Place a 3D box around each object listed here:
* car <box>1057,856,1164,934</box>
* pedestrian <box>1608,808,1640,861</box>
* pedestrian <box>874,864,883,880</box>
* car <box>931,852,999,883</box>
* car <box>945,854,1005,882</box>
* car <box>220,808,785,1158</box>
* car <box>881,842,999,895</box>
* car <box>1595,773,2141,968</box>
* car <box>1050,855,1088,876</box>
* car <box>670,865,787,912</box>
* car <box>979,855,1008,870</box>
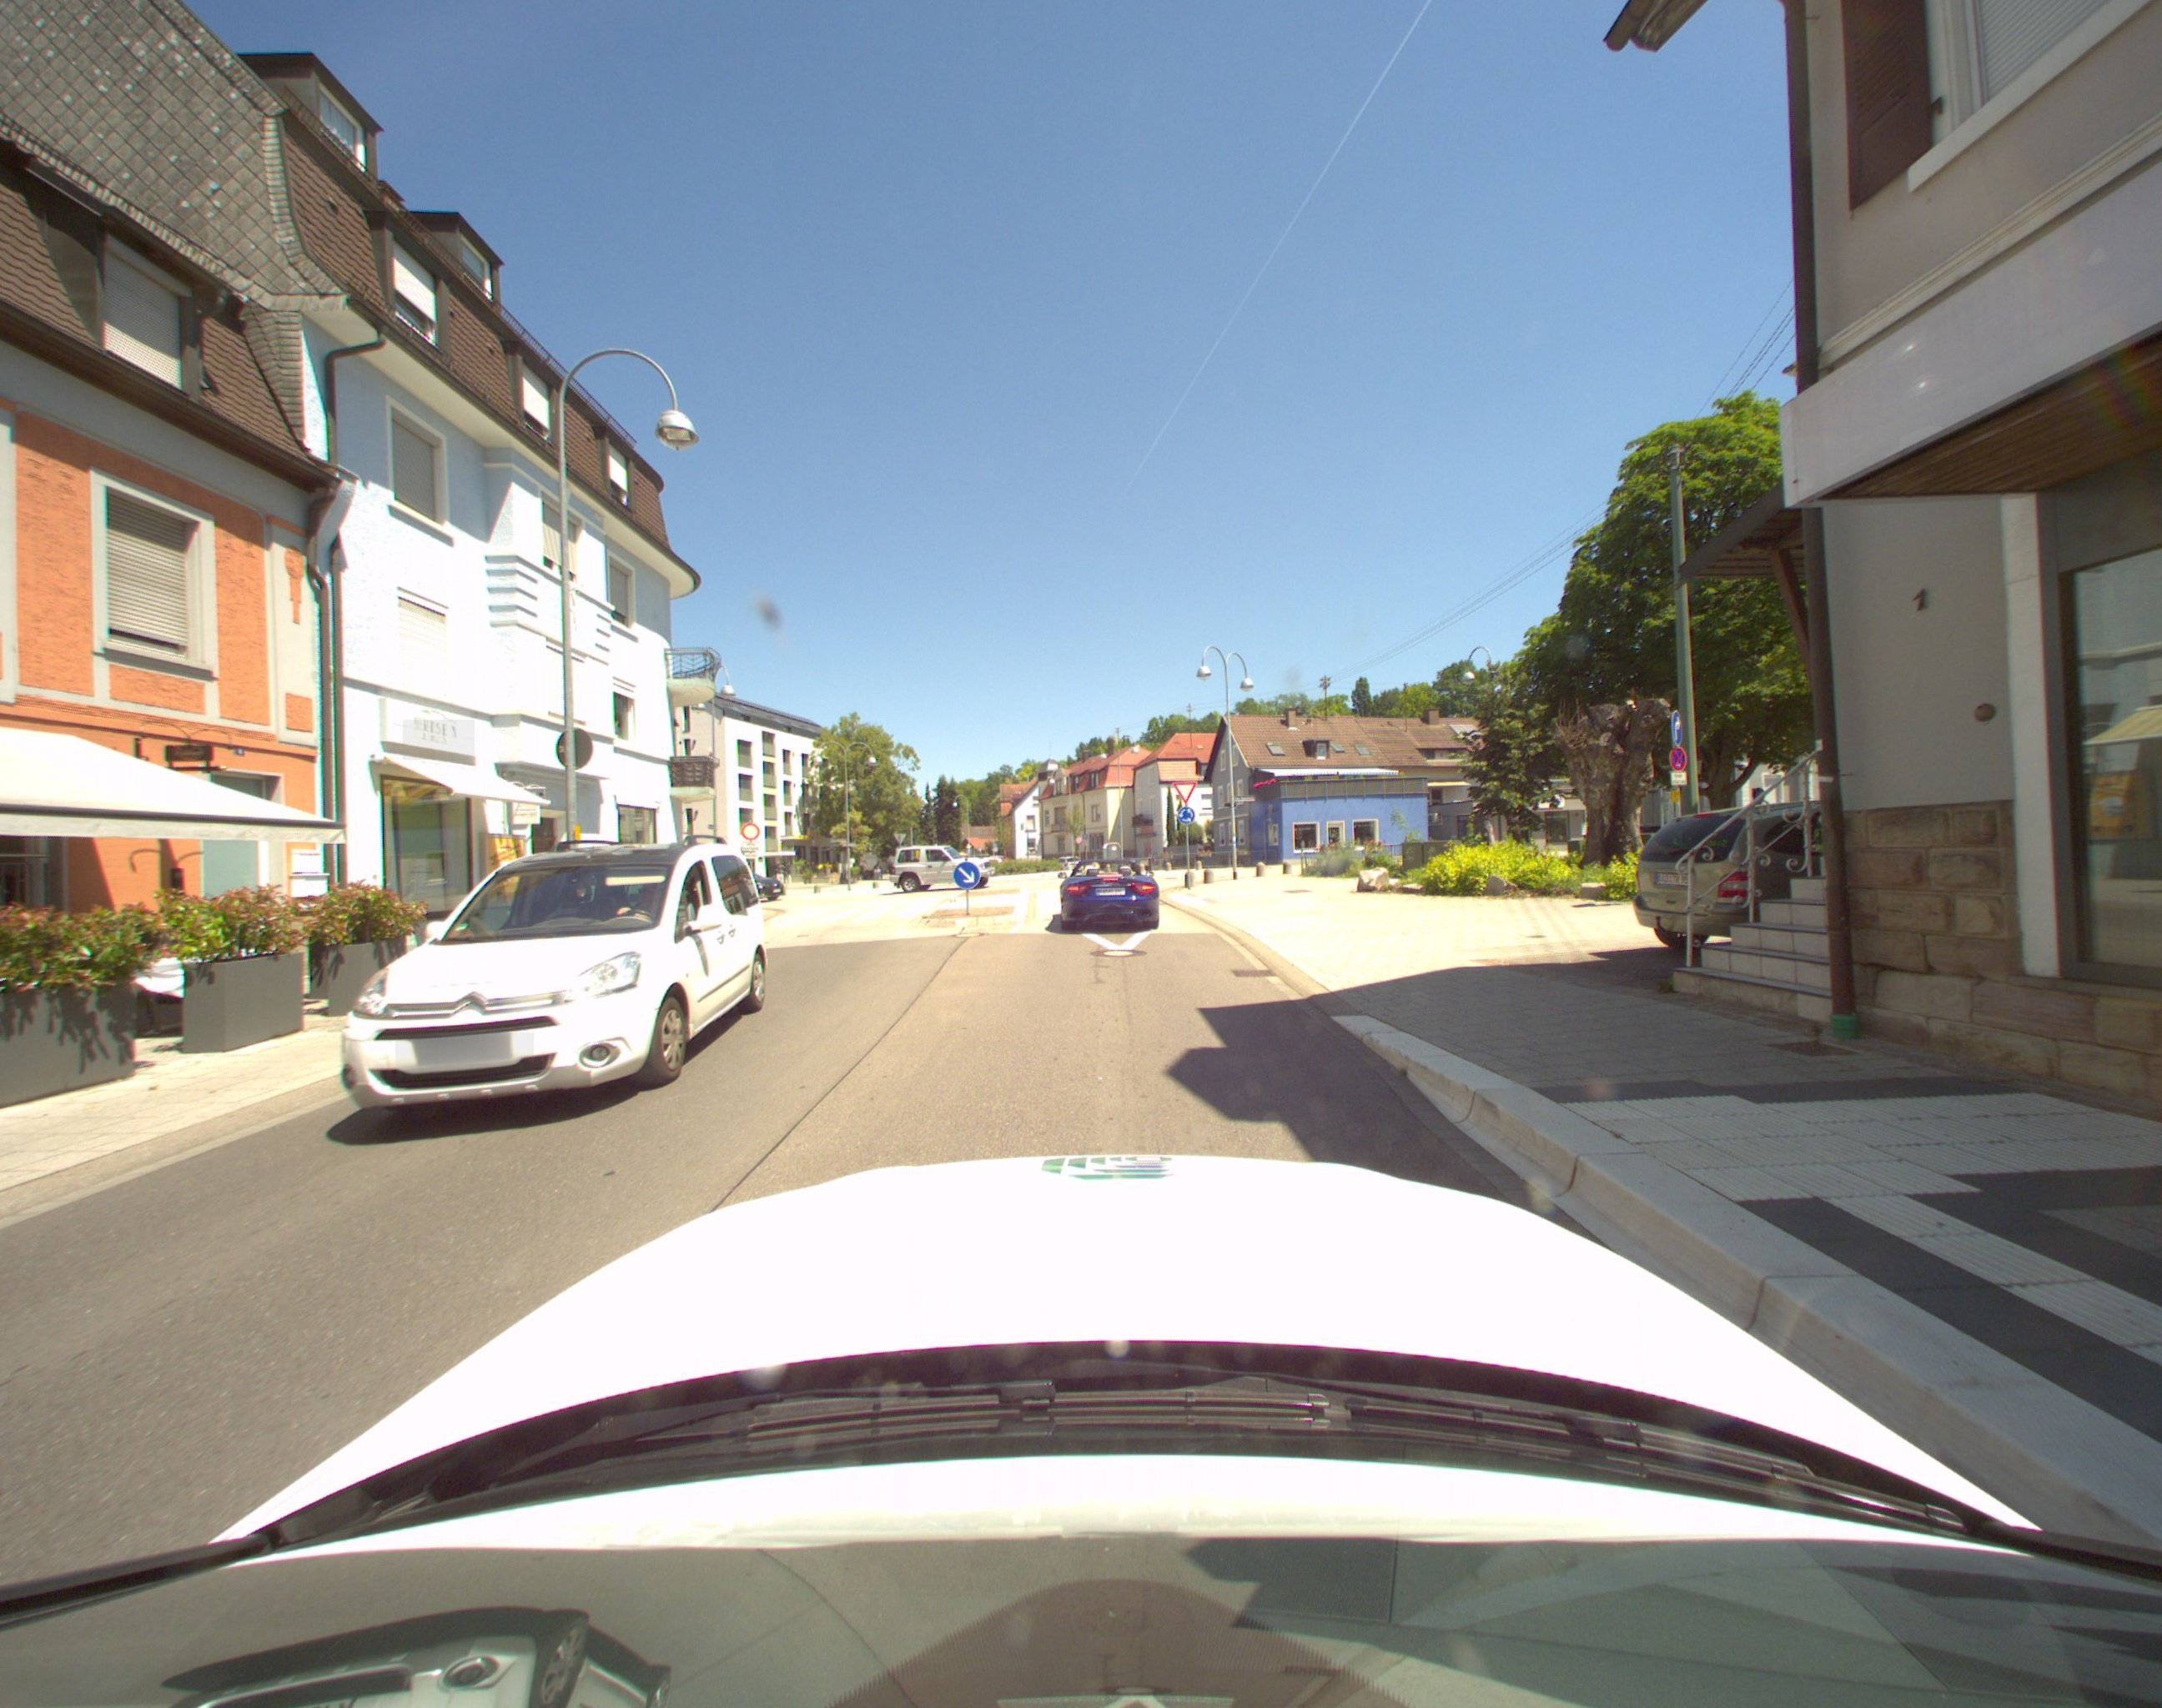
[{"bbox_3d":[0.608,0.744,16.852,1.903,1.360,4.287,-1,0,2],"label":"car"},{"bbox_3d":[19.218,-0.691,28.838,0.729,1.799,0.684,-4,0,25],"label":"pedestrian"},{"bbox_3d":[-19.869,1.764,79.841,0.531,1.576,0.564,-3,0,11],"label":"pedestrian"},{"bbox_3d":[-5.660,0.670,39.392,2.004,1.329,4.163,-3,0,-27],"label":"car"},{"bbox_3d":[-6.437,0.851,49.565,3.457,1.450,1.576,-3,0,-8],"label":"car"},{"bbox_3d":[-4.038,0.718,6.830,1.993,1.822,4.402,-4,0,-9],"label":"car"},{"bbox_3d":[-5.583,0.584,32.457,4.193,1.875,1.767,-3,0,8],"label":"car"},{"bbox_3d":[8.177,0.164,8.781,4.047,1.595,1.802,-4,-1,0],"label":"car"},{"bbox_3d":[-1.060,0.988,68.917,1.925,1.613,4.120,-3,-1,-19],"label":"car"},{"bbox_3d":[-15.072,1.453,34.881,4.219,1.547,1.818,-5,1,13],"label":"car"},{"bbox_3d":[-10.343,1.044,96.229,1.862,1.588,3.961,-4,0,-30],"label":"car"}]
